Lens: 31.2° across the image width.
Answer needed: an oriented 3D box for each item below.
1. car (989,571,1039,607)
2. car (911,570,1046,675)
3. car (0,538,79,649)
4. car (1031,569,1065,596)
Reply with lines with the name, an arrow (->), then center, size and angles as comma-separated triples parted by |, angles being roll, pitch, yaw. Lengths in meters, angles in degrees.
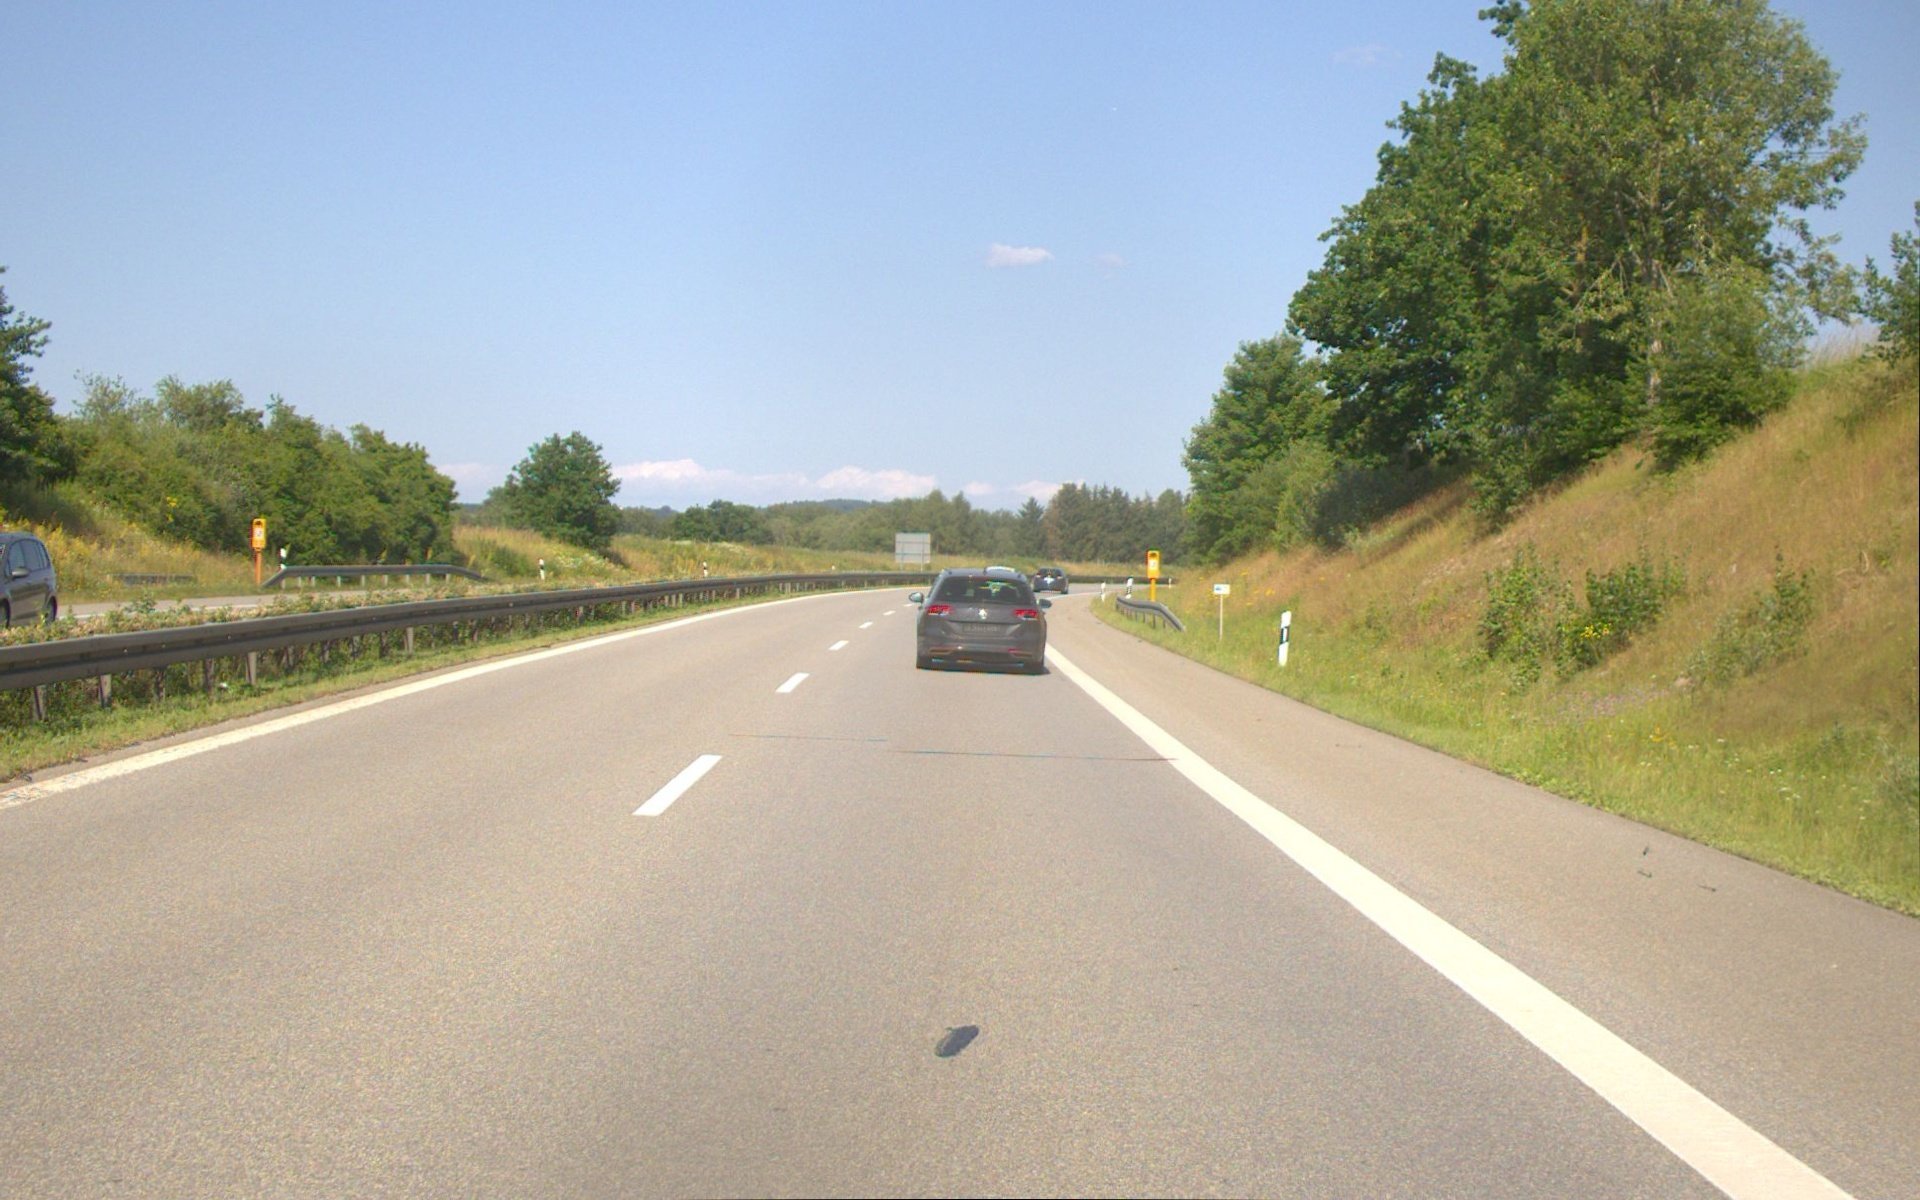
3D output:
car -> 2.338, -0.475, 150.461 | 2.007, 1.340, 4.000 | 5, 0, 0
car -> 0.241, 0.289, 48.420 | 1.791, 1.340, 4.000 | 2, 1, 0
car -> -14.594, -0.138, 51.052 | 1.767, 1.579, 4.793 | 2, 0, -1
car -> 5.018, -1.010, 196.272 | 1.710, 1.382, 3.355 | 5, 0, -1
